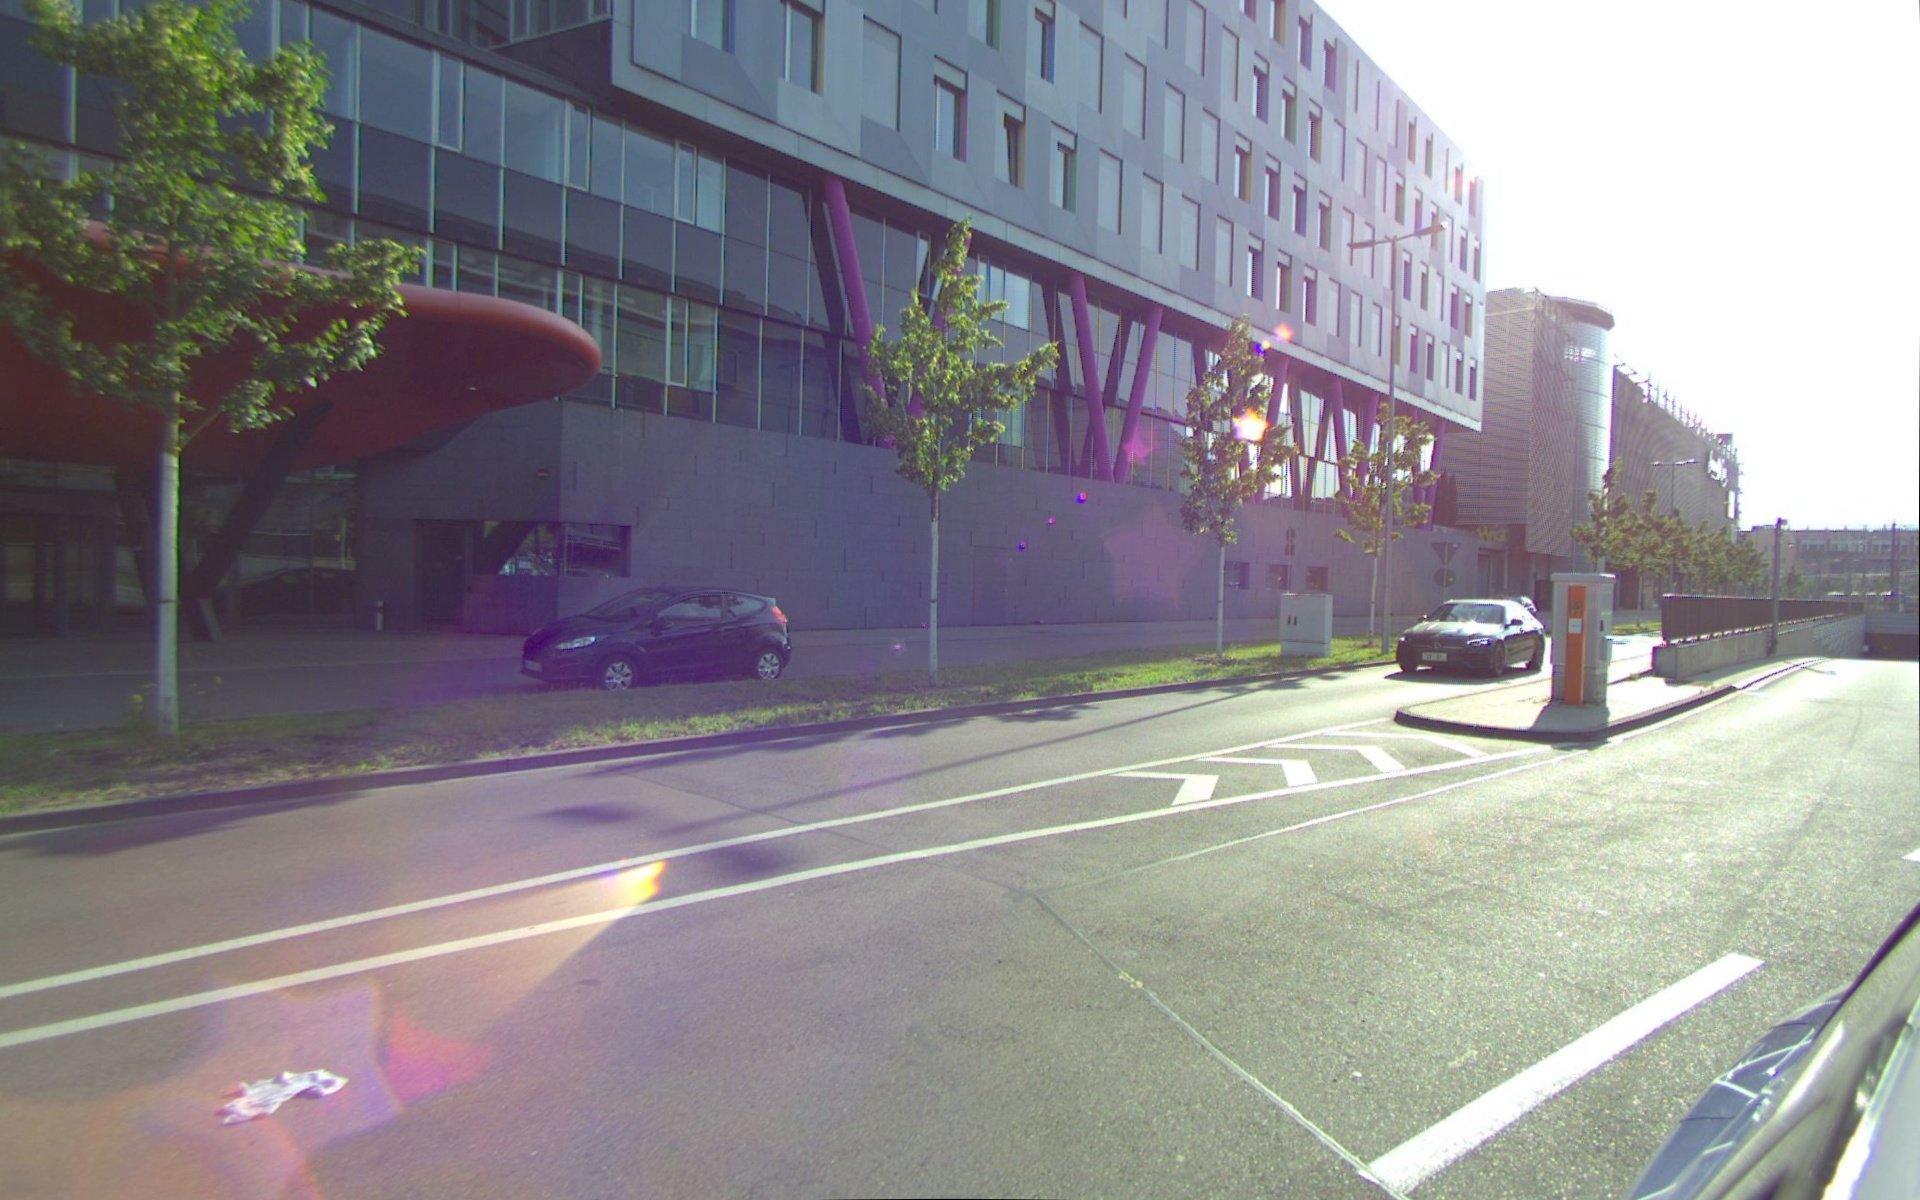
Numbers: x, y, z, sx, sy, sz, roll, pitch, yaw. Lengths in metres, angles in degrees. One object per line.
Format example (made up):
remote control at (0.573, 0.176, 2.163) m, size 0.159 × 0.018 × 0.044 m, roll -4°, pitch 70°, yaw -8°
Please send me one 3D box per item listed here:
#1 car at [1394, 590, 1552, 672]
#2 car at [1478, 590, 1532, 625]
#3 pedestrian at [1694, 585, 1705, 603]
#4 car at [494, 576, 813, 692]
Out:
car at (10.562, 0.557, 20.671) m, size 1.837 × 1.468 × 4.487 m, roll 1°, pitch 0°, yaw 41°
car at (26.205, 0.300, 48.582) m, size 1.883 × 1.444 × 4.420 m, roll 1°, pitch 3°, yaw 34°
pedestrian at (73.818, -0.605, 101.035) m, size 0.723 × 1.808 × 0.760 m, roll 2°, pitch 1°, yaw 43°
car at (-4.288, 0.412, 14.651) m, size 1.691 × 1.407 × 4.134 m, roll 2°, pitch 1°, yaw 42°
